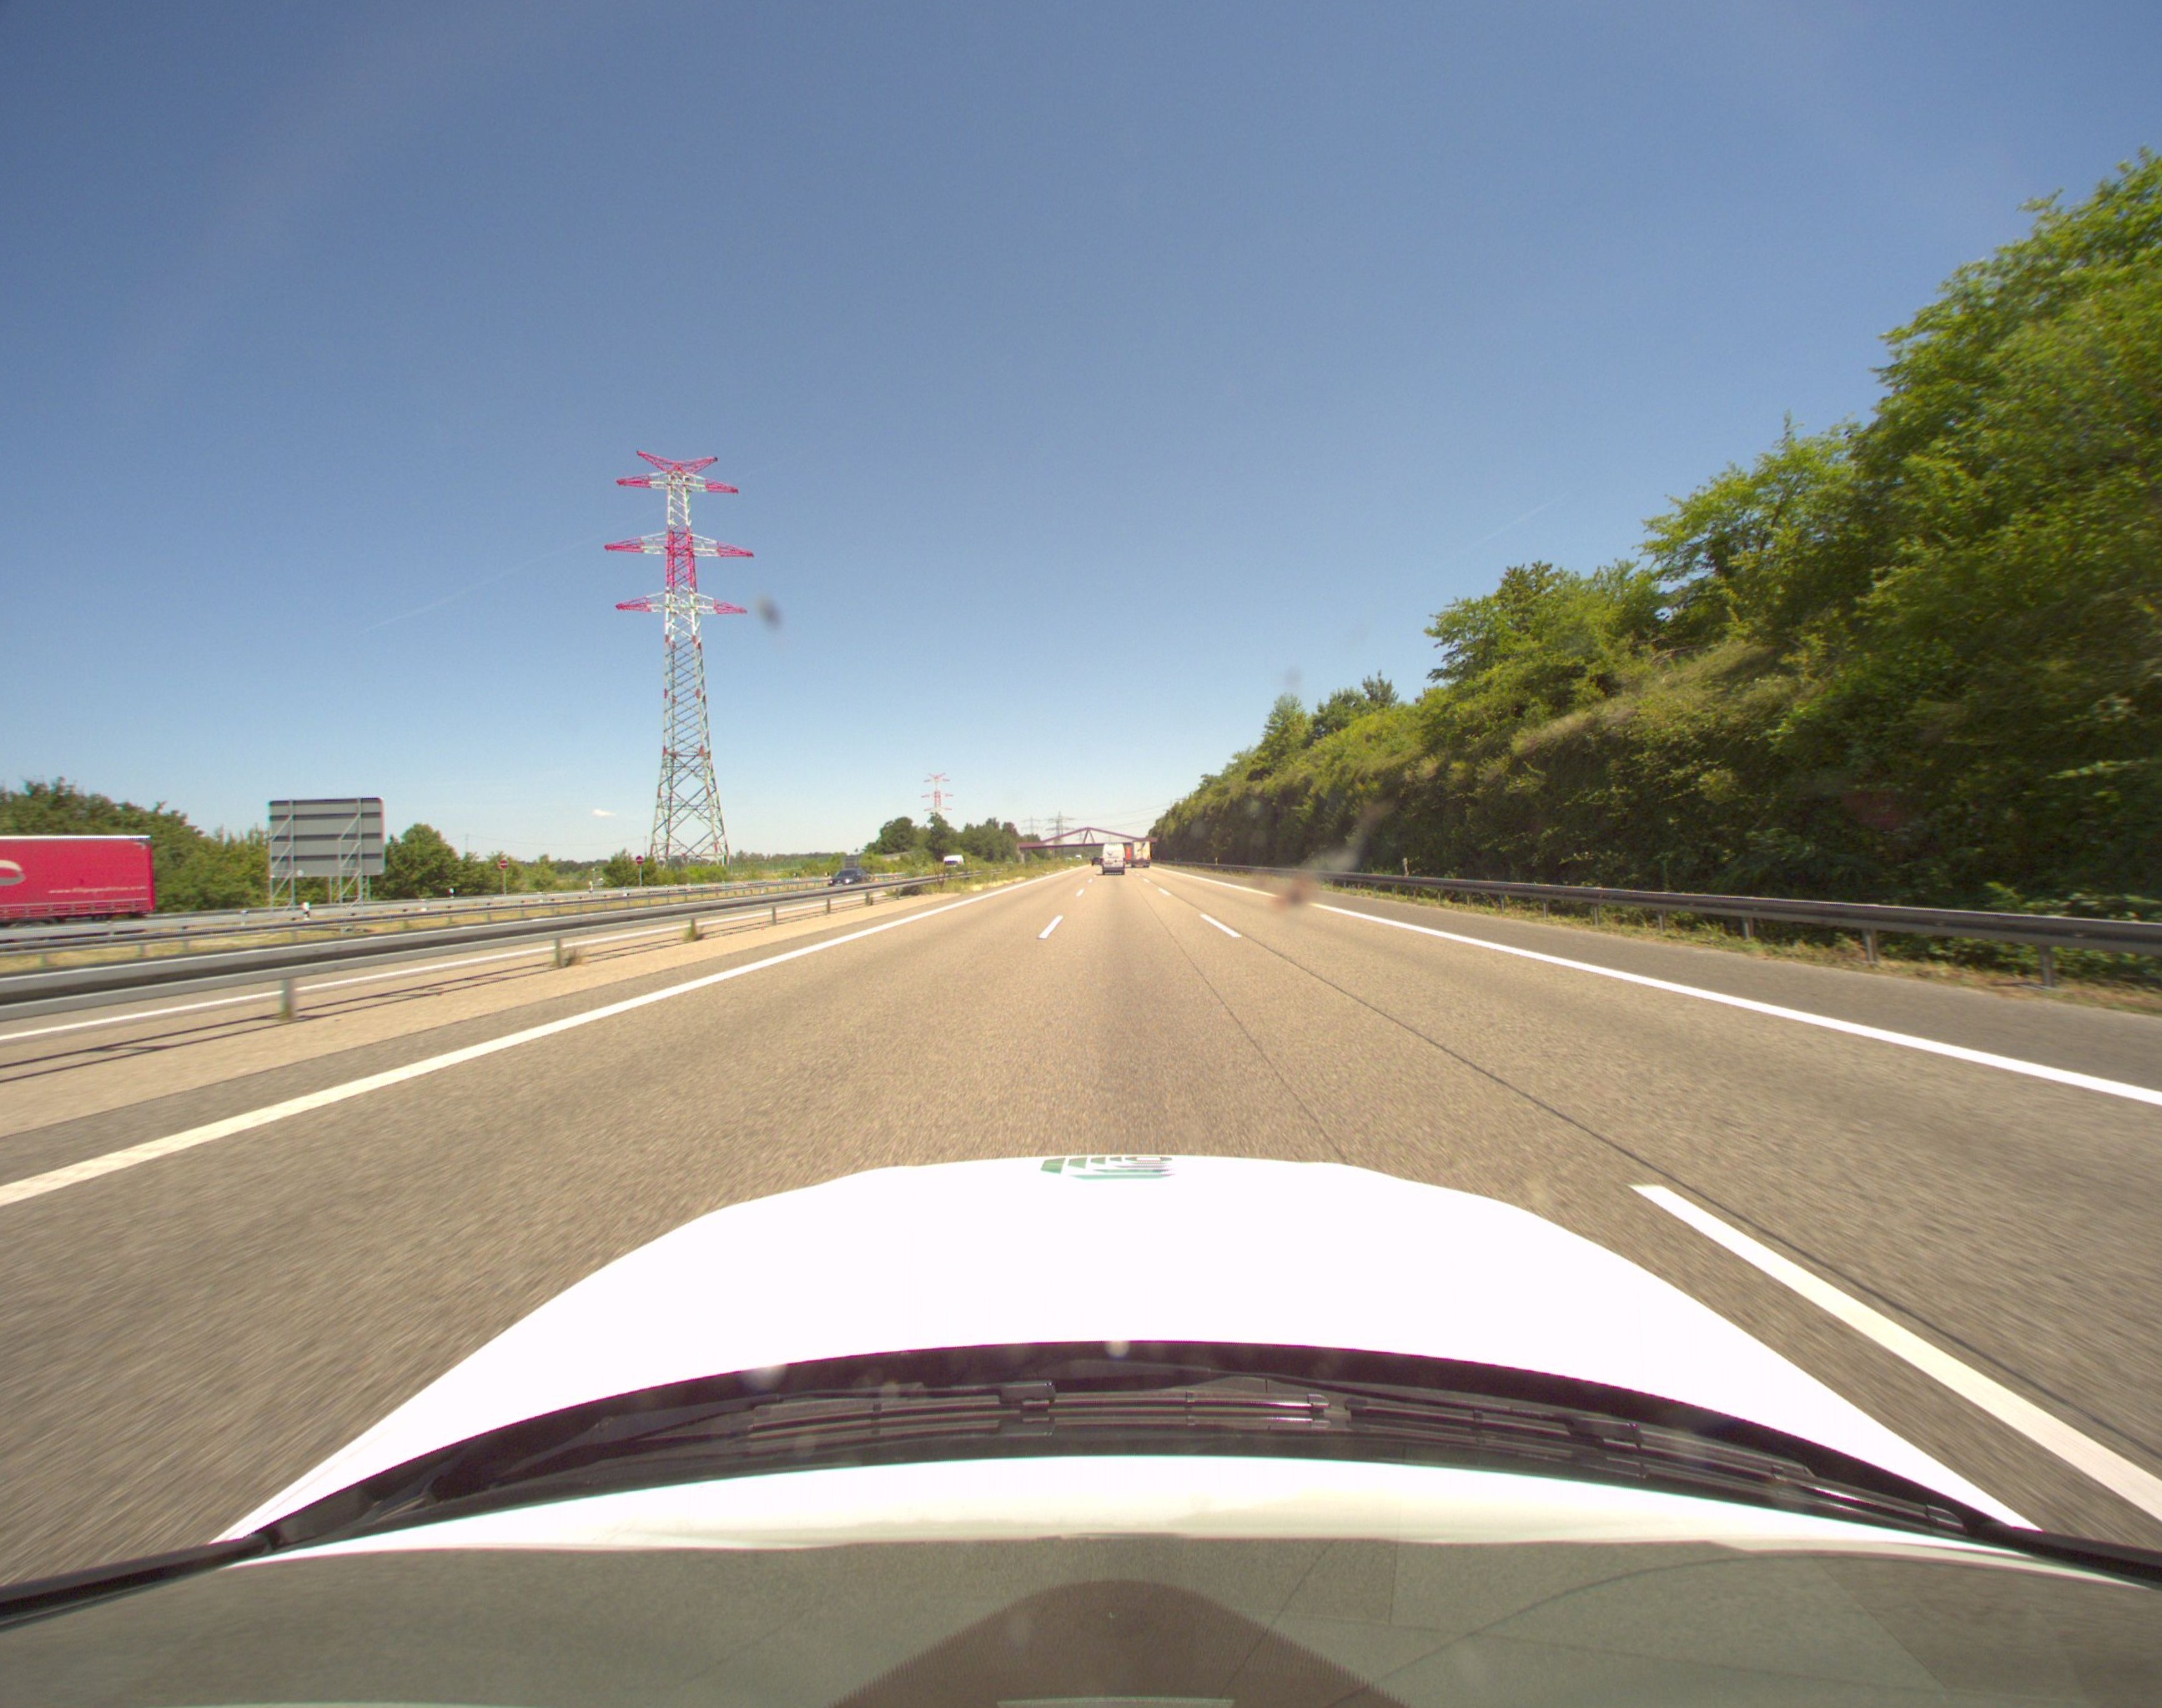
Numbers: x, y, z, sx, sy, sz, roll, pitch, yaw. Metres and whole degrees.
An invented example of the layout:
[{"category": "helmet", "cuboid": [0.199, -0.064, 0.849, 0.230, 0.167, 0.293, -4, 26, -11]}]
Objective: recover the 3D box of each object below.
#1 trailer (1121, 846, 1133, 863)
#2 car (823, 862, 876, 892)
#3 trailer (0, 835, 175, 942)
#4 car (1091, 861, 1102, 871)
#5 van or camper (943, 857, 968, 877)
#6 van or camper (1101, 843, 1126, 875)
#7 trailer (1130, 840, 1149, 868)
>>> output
[{"category": "trailer", "cuboid": [10.643, 0.186, 188.841, 2.627, 3.897, 7.073, 0, 0, 3]}, {"category": "car", "cuboid": [-15.194, 1.478, 53.683, 1.946, 1.810, 5.048, 0, 0, 1]}, {"category": "trailer", "cuboid": [-43.129, 1.302, 30.899, 3.091, 4.055, 11.385, 0, 0, 36]}, {"category": "car", "cuboid": [3.052, 2.375, 160.586, 1.974, 1.817, 3.816, 0, 0, 4]}, {"category": "van or camper", "cuboid": [-16.404, 1.699, 106.800, 2.051, 2.524, 6.393, 0, 0, 2]}, {"category": "van or camper", "cuboid": [2.935, 0.426, 73.869, 2.222, 2.782, 5.425, 0, 0, 2]}, {"category": "trailer", "cuboid": [8.823, 0.000, 124.230, 2.627, 4.060, 12.374, 0, 0, 3]}]
